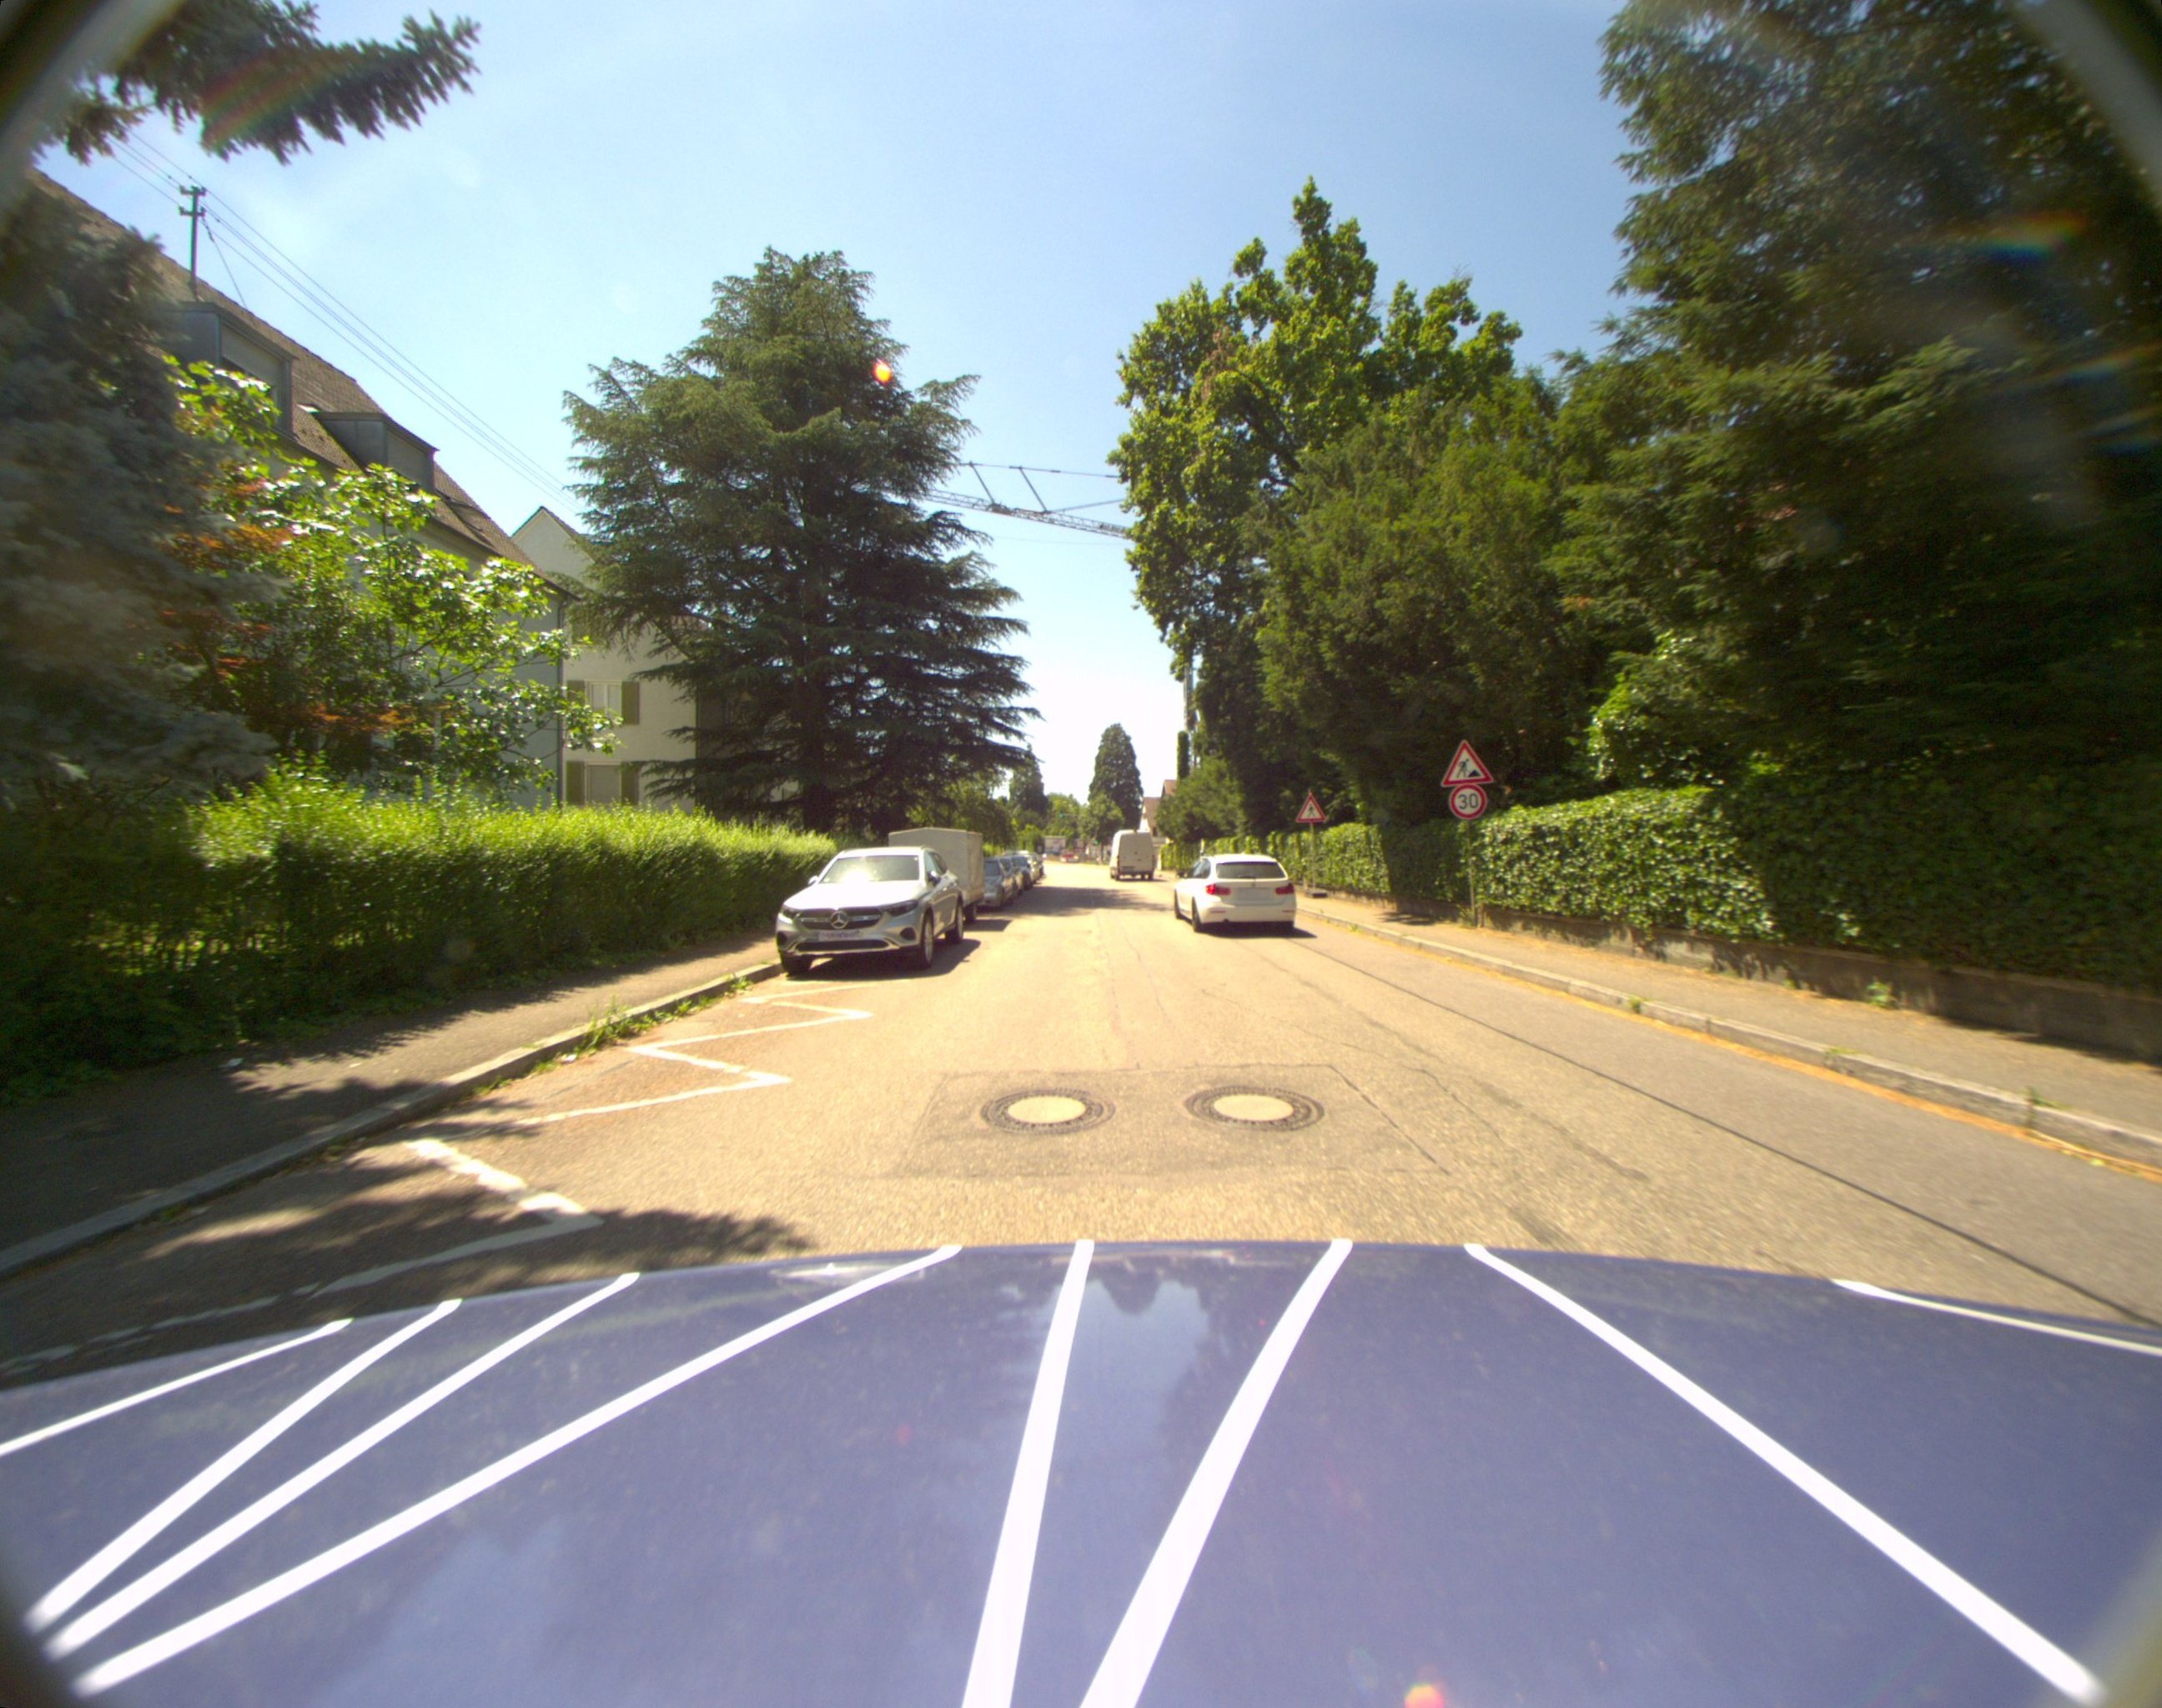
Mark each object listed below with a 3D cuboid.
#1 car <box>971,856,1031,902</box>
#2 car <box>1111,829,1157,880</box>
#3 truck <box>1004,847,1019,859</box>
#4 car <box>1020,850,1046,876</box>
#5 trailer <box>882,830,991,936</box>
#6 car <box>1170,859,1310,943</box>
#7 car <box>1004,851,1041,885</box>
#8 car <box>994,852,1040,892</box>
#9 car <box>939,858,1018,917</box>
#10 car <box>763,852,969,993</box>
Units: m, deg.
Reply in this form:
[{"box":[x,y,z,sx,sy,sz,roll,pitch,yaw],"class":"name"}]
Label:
[{"box":[-2.744,0.808,26.769,1.618,1.461,4.064,-1,0,0],"class":"car"},{"box":[2.788,0.024,41.174,1.999,2.518,5.893,0,0,-1],"class":"car"},{"box":[-13.560,-0.233,148.047,2.135,2.325,6.427,0,0,-13],"class":"truck"},{"box":[-3.056,0.550,48.746,1.586,1.566,4.007,-1,0,-2],"class":"car"},{"box":[-3.081,0.575,16.891,1.684,2.056,3.708,-2,0,-1],"class":"trailer"},{"box":[3.001,0.827,15.355,1.869,1.375,4.604,1,0,0],"class":"car"},{"box":[-2.940,0.662,38.800,1.619,1.504,4.062,-4,1,-2],"class":"car"},{"box":[-2.709,0.711,33.034,1.619,1.443,4.373,-3,2,0],"class":"car"},{"box":[-2.800,0.862,21.572,1.618,1.388,4.258,-2,1,0],"class":"car"},{"box":[-2.900,0.820,11.378,1.776,1.622,4.604,-2,0,-1],"class":"car"}]
